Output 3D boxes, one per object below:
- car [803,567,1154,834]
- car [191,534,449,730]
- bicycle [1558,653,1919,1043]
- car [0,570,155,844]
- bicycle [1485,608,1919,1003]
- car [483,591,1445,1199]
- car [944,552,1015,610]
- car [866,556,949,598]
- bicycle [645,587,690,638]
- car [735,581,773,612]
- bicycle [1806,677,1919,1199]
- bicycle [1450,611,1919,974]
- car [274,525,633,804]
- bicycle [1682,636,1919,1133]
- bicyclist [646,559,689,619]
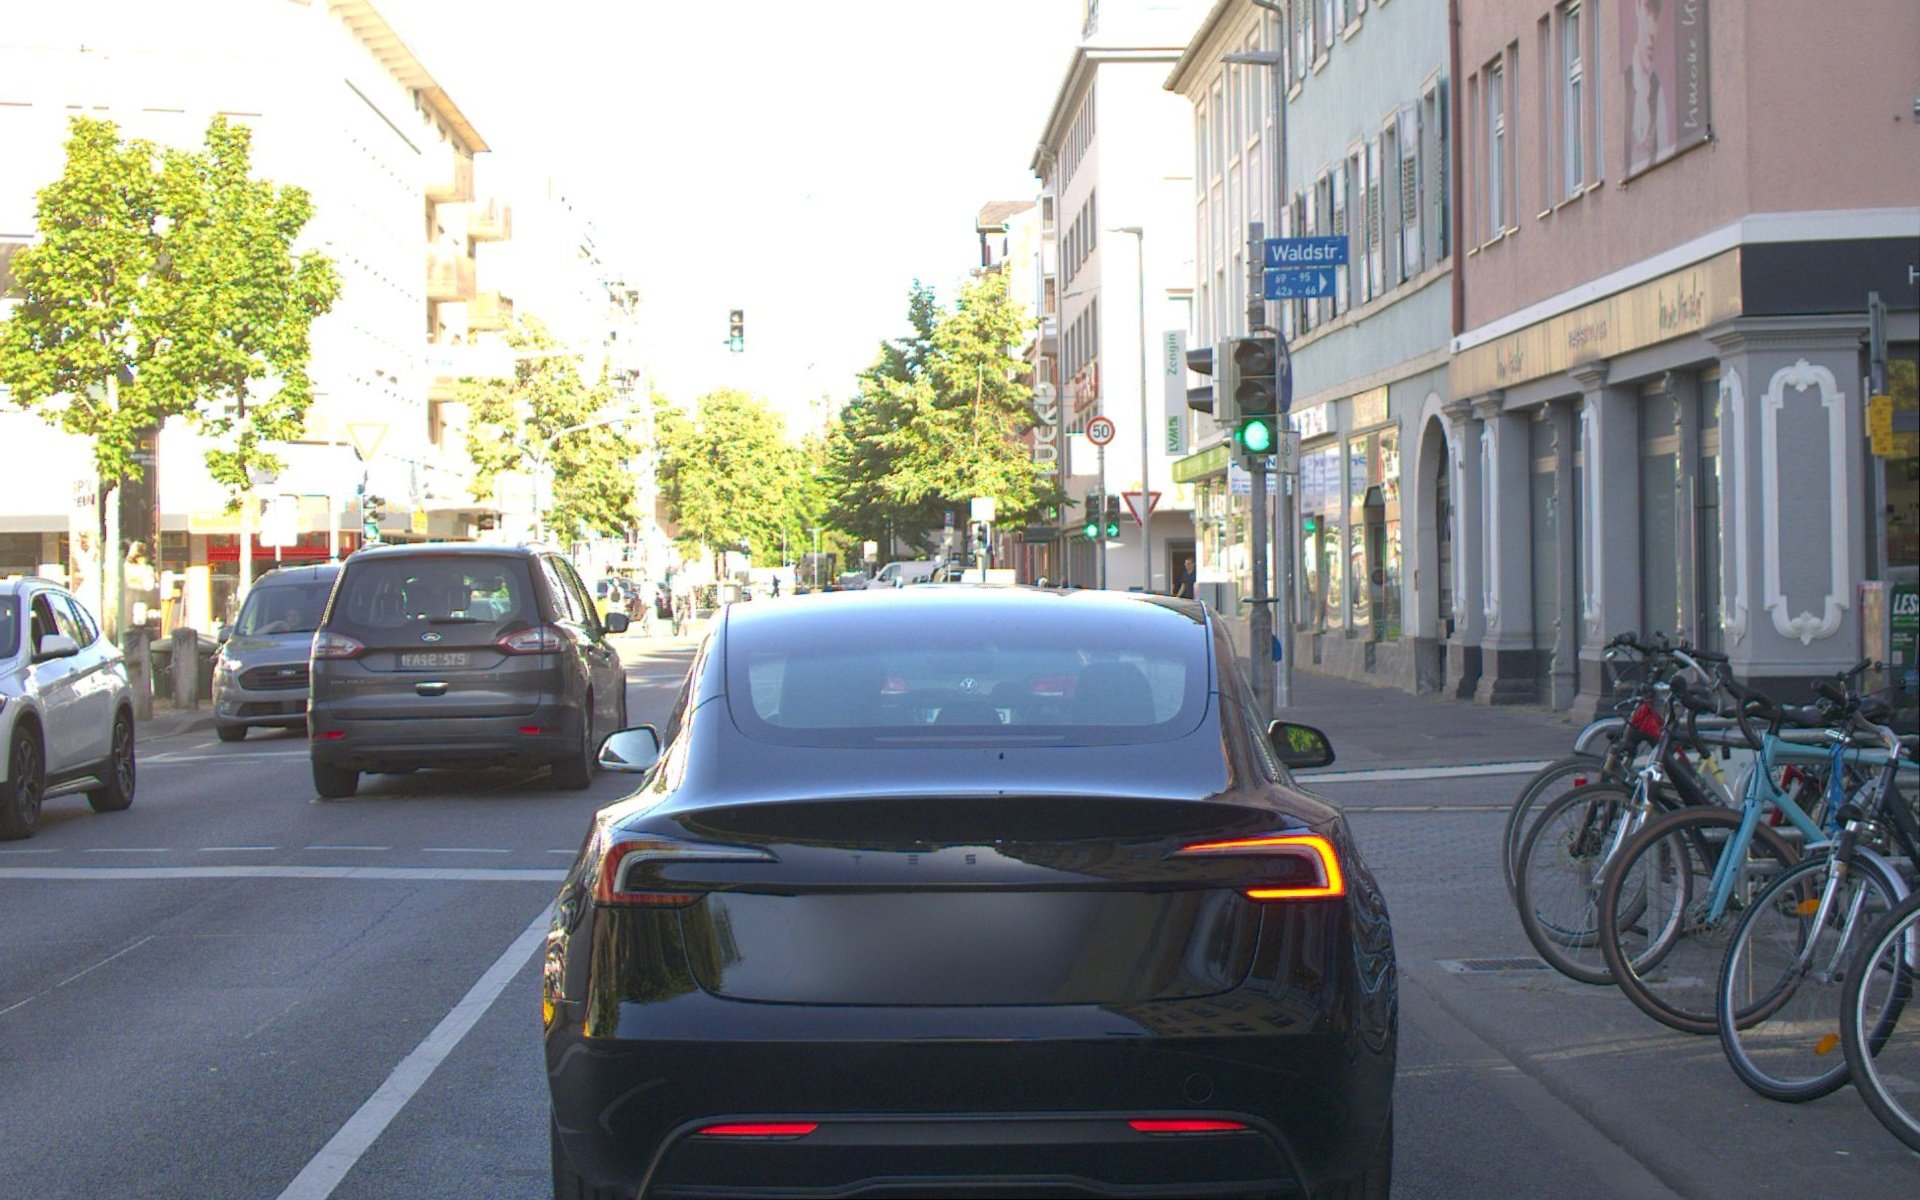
[{"bbox_3d":[0.034,0.551,21.618,1.993,1.507,4.175,0,1,-2],"label":"car"},{"bbox_3d":[-6.733,0.287,36.654,1.834,1.838,4.674,-4,1,-1],"label":"car"},{"bbox_3d":[2.809,0.742,10.643,1.798,1.120,0.781,-2,0,5],"label":"bicycle"},{"bbox_3d":[-6.482,0.648,21.705,1.807,1.550,4.310,-4,1,-2],"label":"car"},{"bbox_3d":[2.742,0.683,11.822,1.746,1.262,0.781,-2,0,3],"label":"bicycle"},{"bbox_3d":[-0.014,0.711,8.618,1.848,1.450,4.000,0,0,-1],"label":"car"},{"bbox_3d":[0.541,-0.552,98.981,1.993,1.623,4.000,0,0,-1],"label":"car"},{"bbox_3d":[-2.543,-1.096,165.733,3.986,2.007,2.000,0,1,-2],"label":"car"},{"bbox_3d":[-7.959,0.318,93.697,1.111,1.340,4.001,0,1,-3],"label":"bicycle"},{"bbox_3d":[-11.082,-0.204,185.241,1.993,1.631,4.000,0,0,-3],"label":"car"},{"bbox_3d":[3.037,0.774,8.160,1.886,1.189,0.691,-2,1,5],"label":"bicycle"},{"bbox_3d":[2.811,0.701,12.852,1.862,1.253,0.832,-2,0,5],"label":"bicycle"},{"bbox_3d":[-3.491,0.389,24.548,1.993,1.766,4.729,-1,1,-2],"label":"car"},{"bbox_3d":[2.890,0.731,9.292,1.722,1.263,0.790,-2,0,5],"label":"bicycle"},{"bbox_3d":[-7.977,-0.297,93.784,1.126,1.623,0.965,0,0,-3],"label":"bicyclist"}]
